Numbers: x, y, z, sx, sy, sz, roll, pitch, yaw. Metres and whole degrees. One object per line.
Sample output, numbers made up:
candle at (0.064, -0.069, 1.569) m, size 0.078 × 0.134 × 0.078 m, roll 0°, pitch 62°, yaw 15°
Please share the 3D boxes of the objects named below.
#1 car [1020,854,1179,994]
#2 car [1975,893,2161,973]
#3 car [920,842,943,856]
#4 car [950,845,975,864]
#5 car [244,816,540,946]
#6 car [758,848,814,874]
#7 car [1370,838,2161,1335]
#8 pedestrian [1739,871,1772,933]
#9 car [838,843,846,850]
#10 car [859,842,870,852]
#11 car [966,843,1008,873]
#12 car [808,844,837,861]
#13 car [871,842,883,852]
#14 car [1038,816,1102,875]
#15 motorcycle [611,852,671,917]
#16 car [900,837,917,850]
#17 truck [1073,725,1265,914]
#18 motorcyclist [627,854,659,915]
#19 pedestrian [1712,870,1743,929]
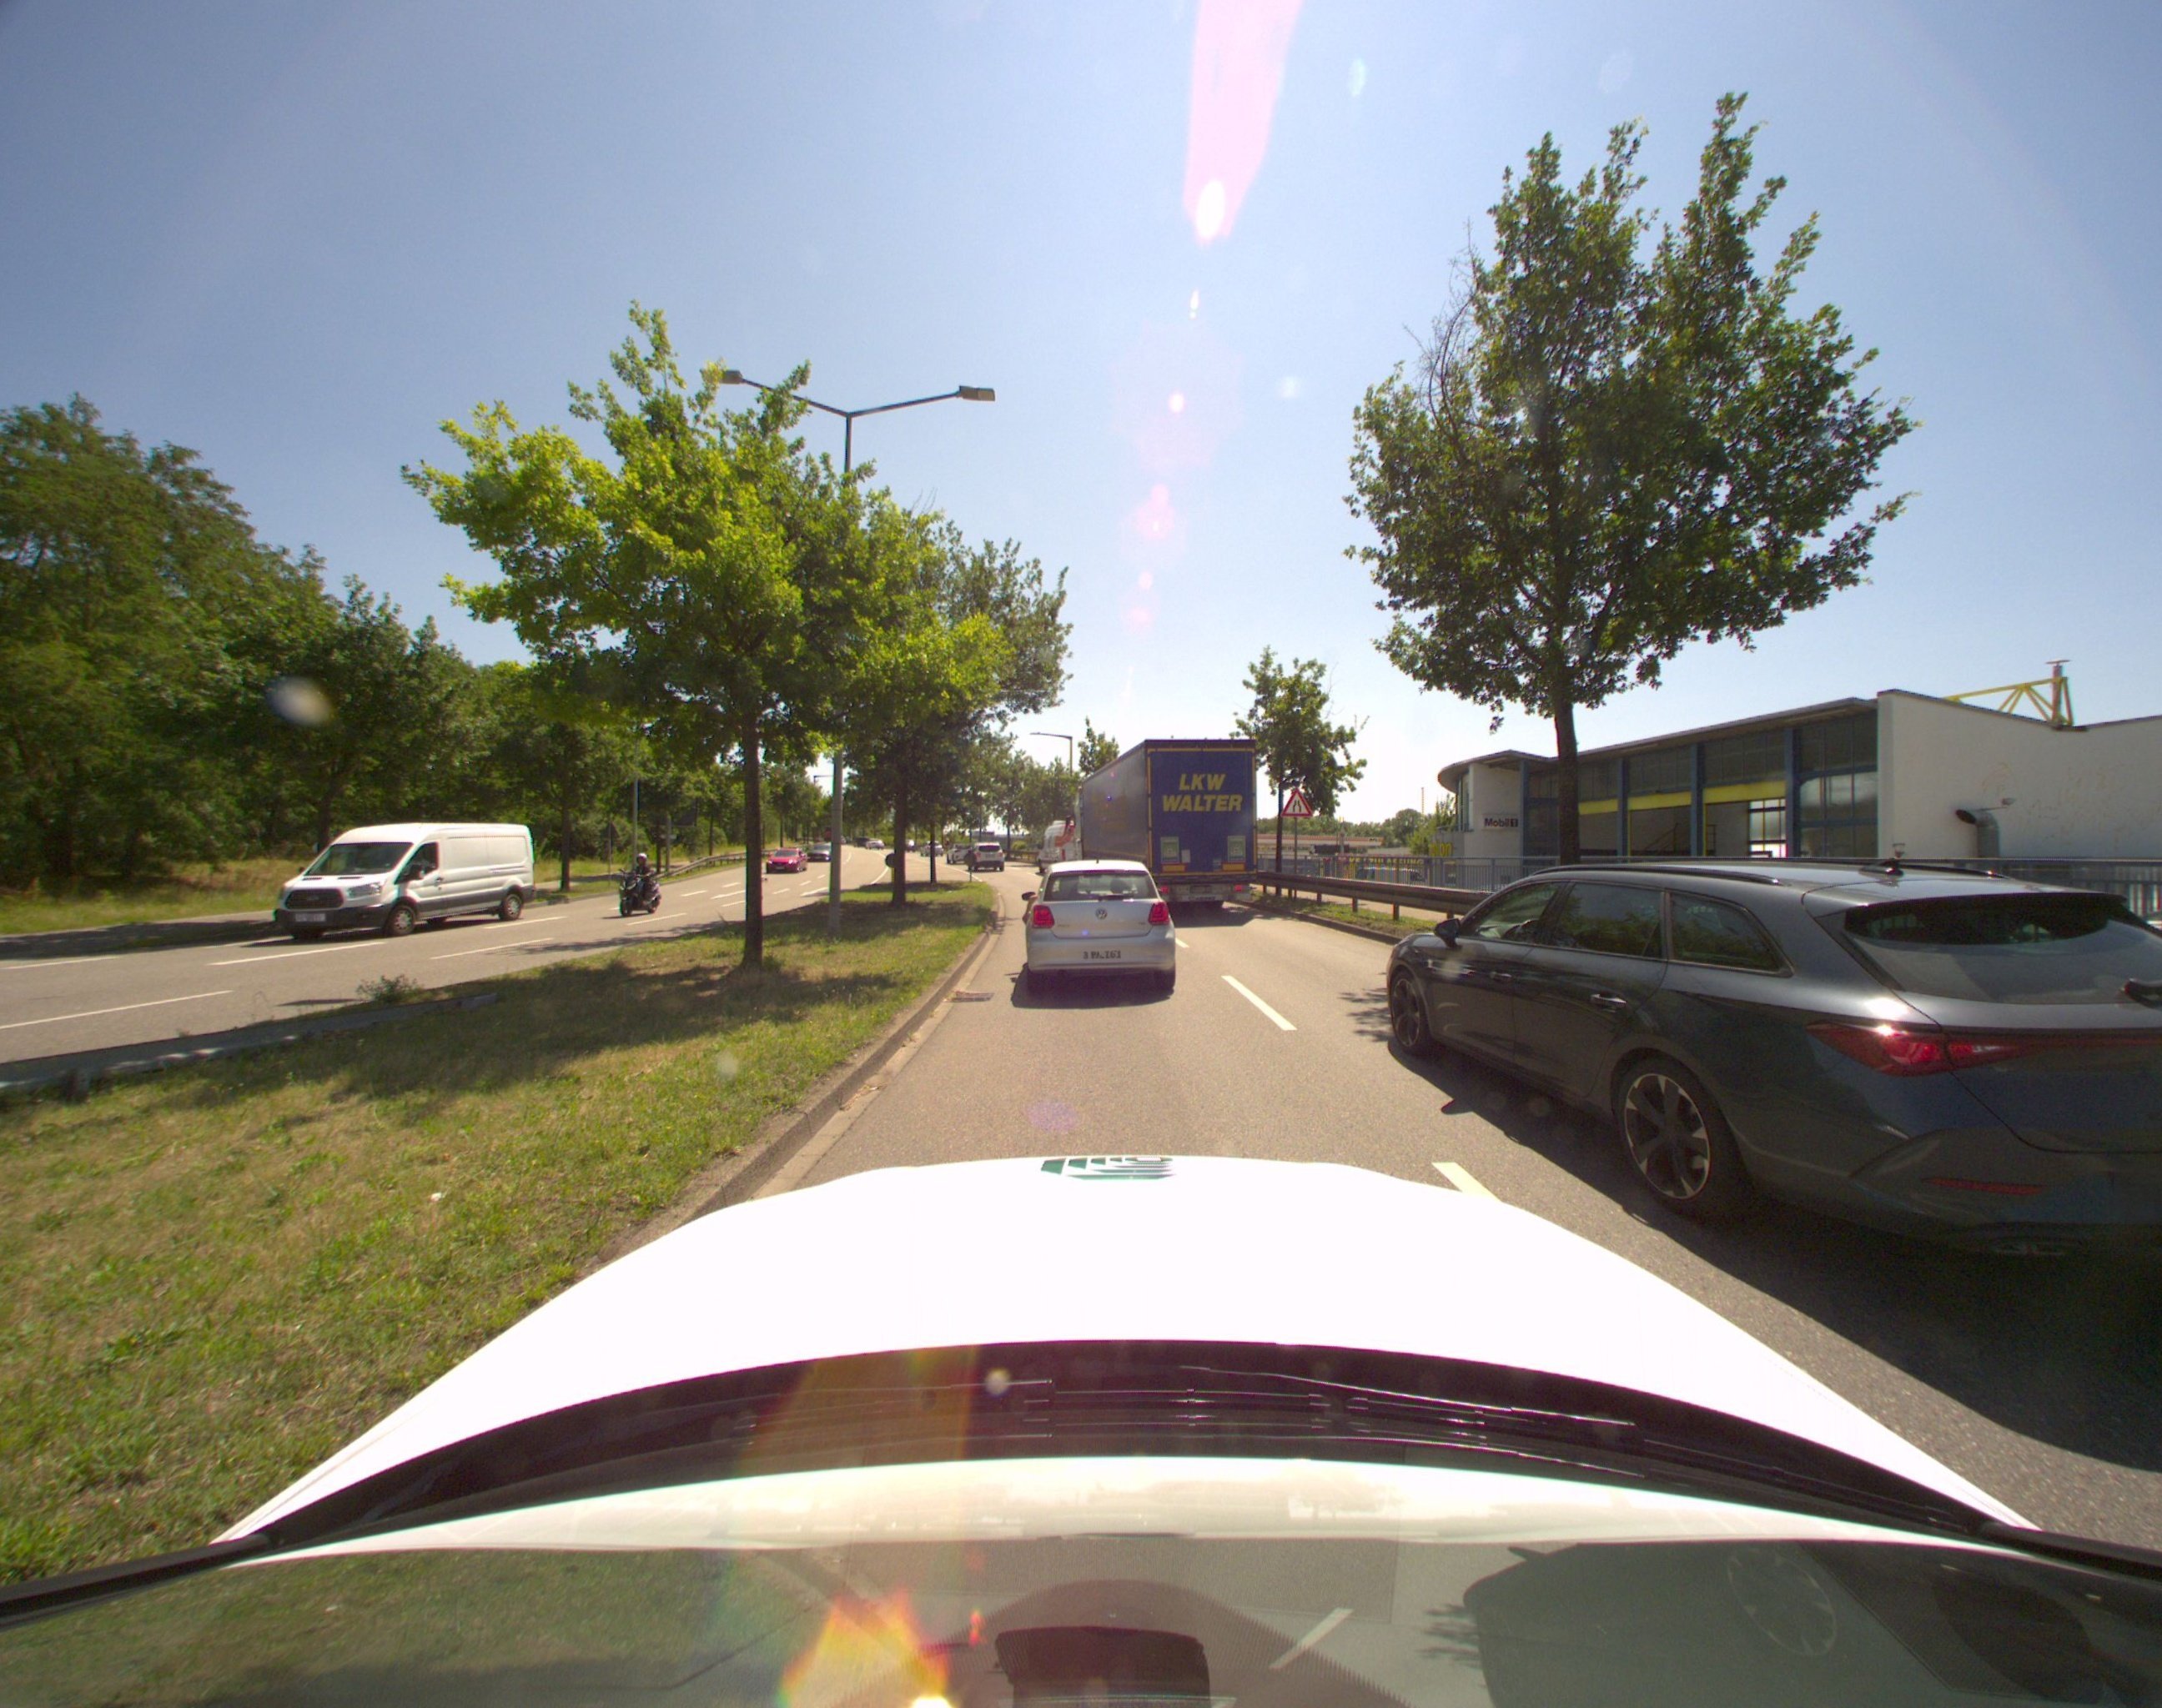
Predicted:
car at (0.252, 0.740, 10.214) m, size 1.640 × 1.439 × 3.538 m, roll 0°, pitch -1°, yaw 2°
car at (20.645, 1.479, 15.188) m, size 5.017 × 1.358 × 2.013 m, roll -1°, pitch -1°, yaw 34°
car at (-14.703, -0.500, 80.020) m, size 1.614 × 1.360 × 3.636 m, roll 0°, pitch 0°, yaw -22°
car at (-8.754, 0.052, 59.828) m, size 1.496 × 1.360 × 3.645 m, roll 0°, pitch 0°, yaw -14°
car at (-15.459, 0.465, 18.915) m, size 2.090 × 2.500 × 5.802 m, roll -1°, pitch 1°, yaw -4°
car at (-17.751, 0.423, 49.281) m, size 1.826 × 1.437 × 4.522 m, roll -2°, pitch -1°, yaw -2°
car at (3.197, 0.699, 4.544) m, size 1.600 × 1.456 × 4.233 m, roll 0°, pitch -1°, yaw -1°
pedestrian at (19.142, 1.348, 23.113) m, size 0.425 × 1.703 × 0.588 m, roll 0°, pitch -1°, yaw -5°
car at (-40.747, -1.353, 138.915) m, size 1.325 × 1.139 × 2.977 m, roll 0°, pitch -1°, yaw -18°
car at (-31.572, -1.024, 118.693) m, size 1.421 × 1.314 × 3.318 m, roll 0°, pitch -1°, yaw -17°
car at (-5.706, 0.223, 48.987) m, size 1.907 × 1.718 × 4.201 m, roll 0°, pitch -1°, yaw -15°
car at (-20.746, -0.122, 65.486) m, size 1.811 × 1.333 × 4.550 m, roll 0°, pitch -1°, yaw -12°
car at (-26.904, -0.940, 107.304) m, size 1.460 × 1.314 × 3.616 m, roll 0°, pitch -1°, yaw -17°
car at (-0.700, -0.461, 43.376) m, size 2.178 × 2.900 × 6.331 m, roll 0°, pitch 1°, yaw -13°
motorcycle at (-11.976, 0.802, 22.266) m, size 0.597 × 1.678 × 2.419 m, roll 0°, pitch -1°, yaw -7°
car at (-20.015, -1.215, 94.567) m, size 1.669 × 1.465 × 3.560 m, roll 0°, pitch -1°, yaw -17°
truck at (1.913, -0.793, 26.397) m, size 2.829 × 4.198 × 16.440 m, roll 0°, pitch 0°, yaw -6°
motorcyclist at (-11.982, 0.830, 22.287) m, size 0.586 × 1.626 × 0.561 m, roll 0°, pitch -1°, yaw -6°
pedestrian at (19.045, 1.322, 23.997) m, size 0.520 × 1.703 × 0.487 m, roll 0°, pitch -1°, yaw -4°
